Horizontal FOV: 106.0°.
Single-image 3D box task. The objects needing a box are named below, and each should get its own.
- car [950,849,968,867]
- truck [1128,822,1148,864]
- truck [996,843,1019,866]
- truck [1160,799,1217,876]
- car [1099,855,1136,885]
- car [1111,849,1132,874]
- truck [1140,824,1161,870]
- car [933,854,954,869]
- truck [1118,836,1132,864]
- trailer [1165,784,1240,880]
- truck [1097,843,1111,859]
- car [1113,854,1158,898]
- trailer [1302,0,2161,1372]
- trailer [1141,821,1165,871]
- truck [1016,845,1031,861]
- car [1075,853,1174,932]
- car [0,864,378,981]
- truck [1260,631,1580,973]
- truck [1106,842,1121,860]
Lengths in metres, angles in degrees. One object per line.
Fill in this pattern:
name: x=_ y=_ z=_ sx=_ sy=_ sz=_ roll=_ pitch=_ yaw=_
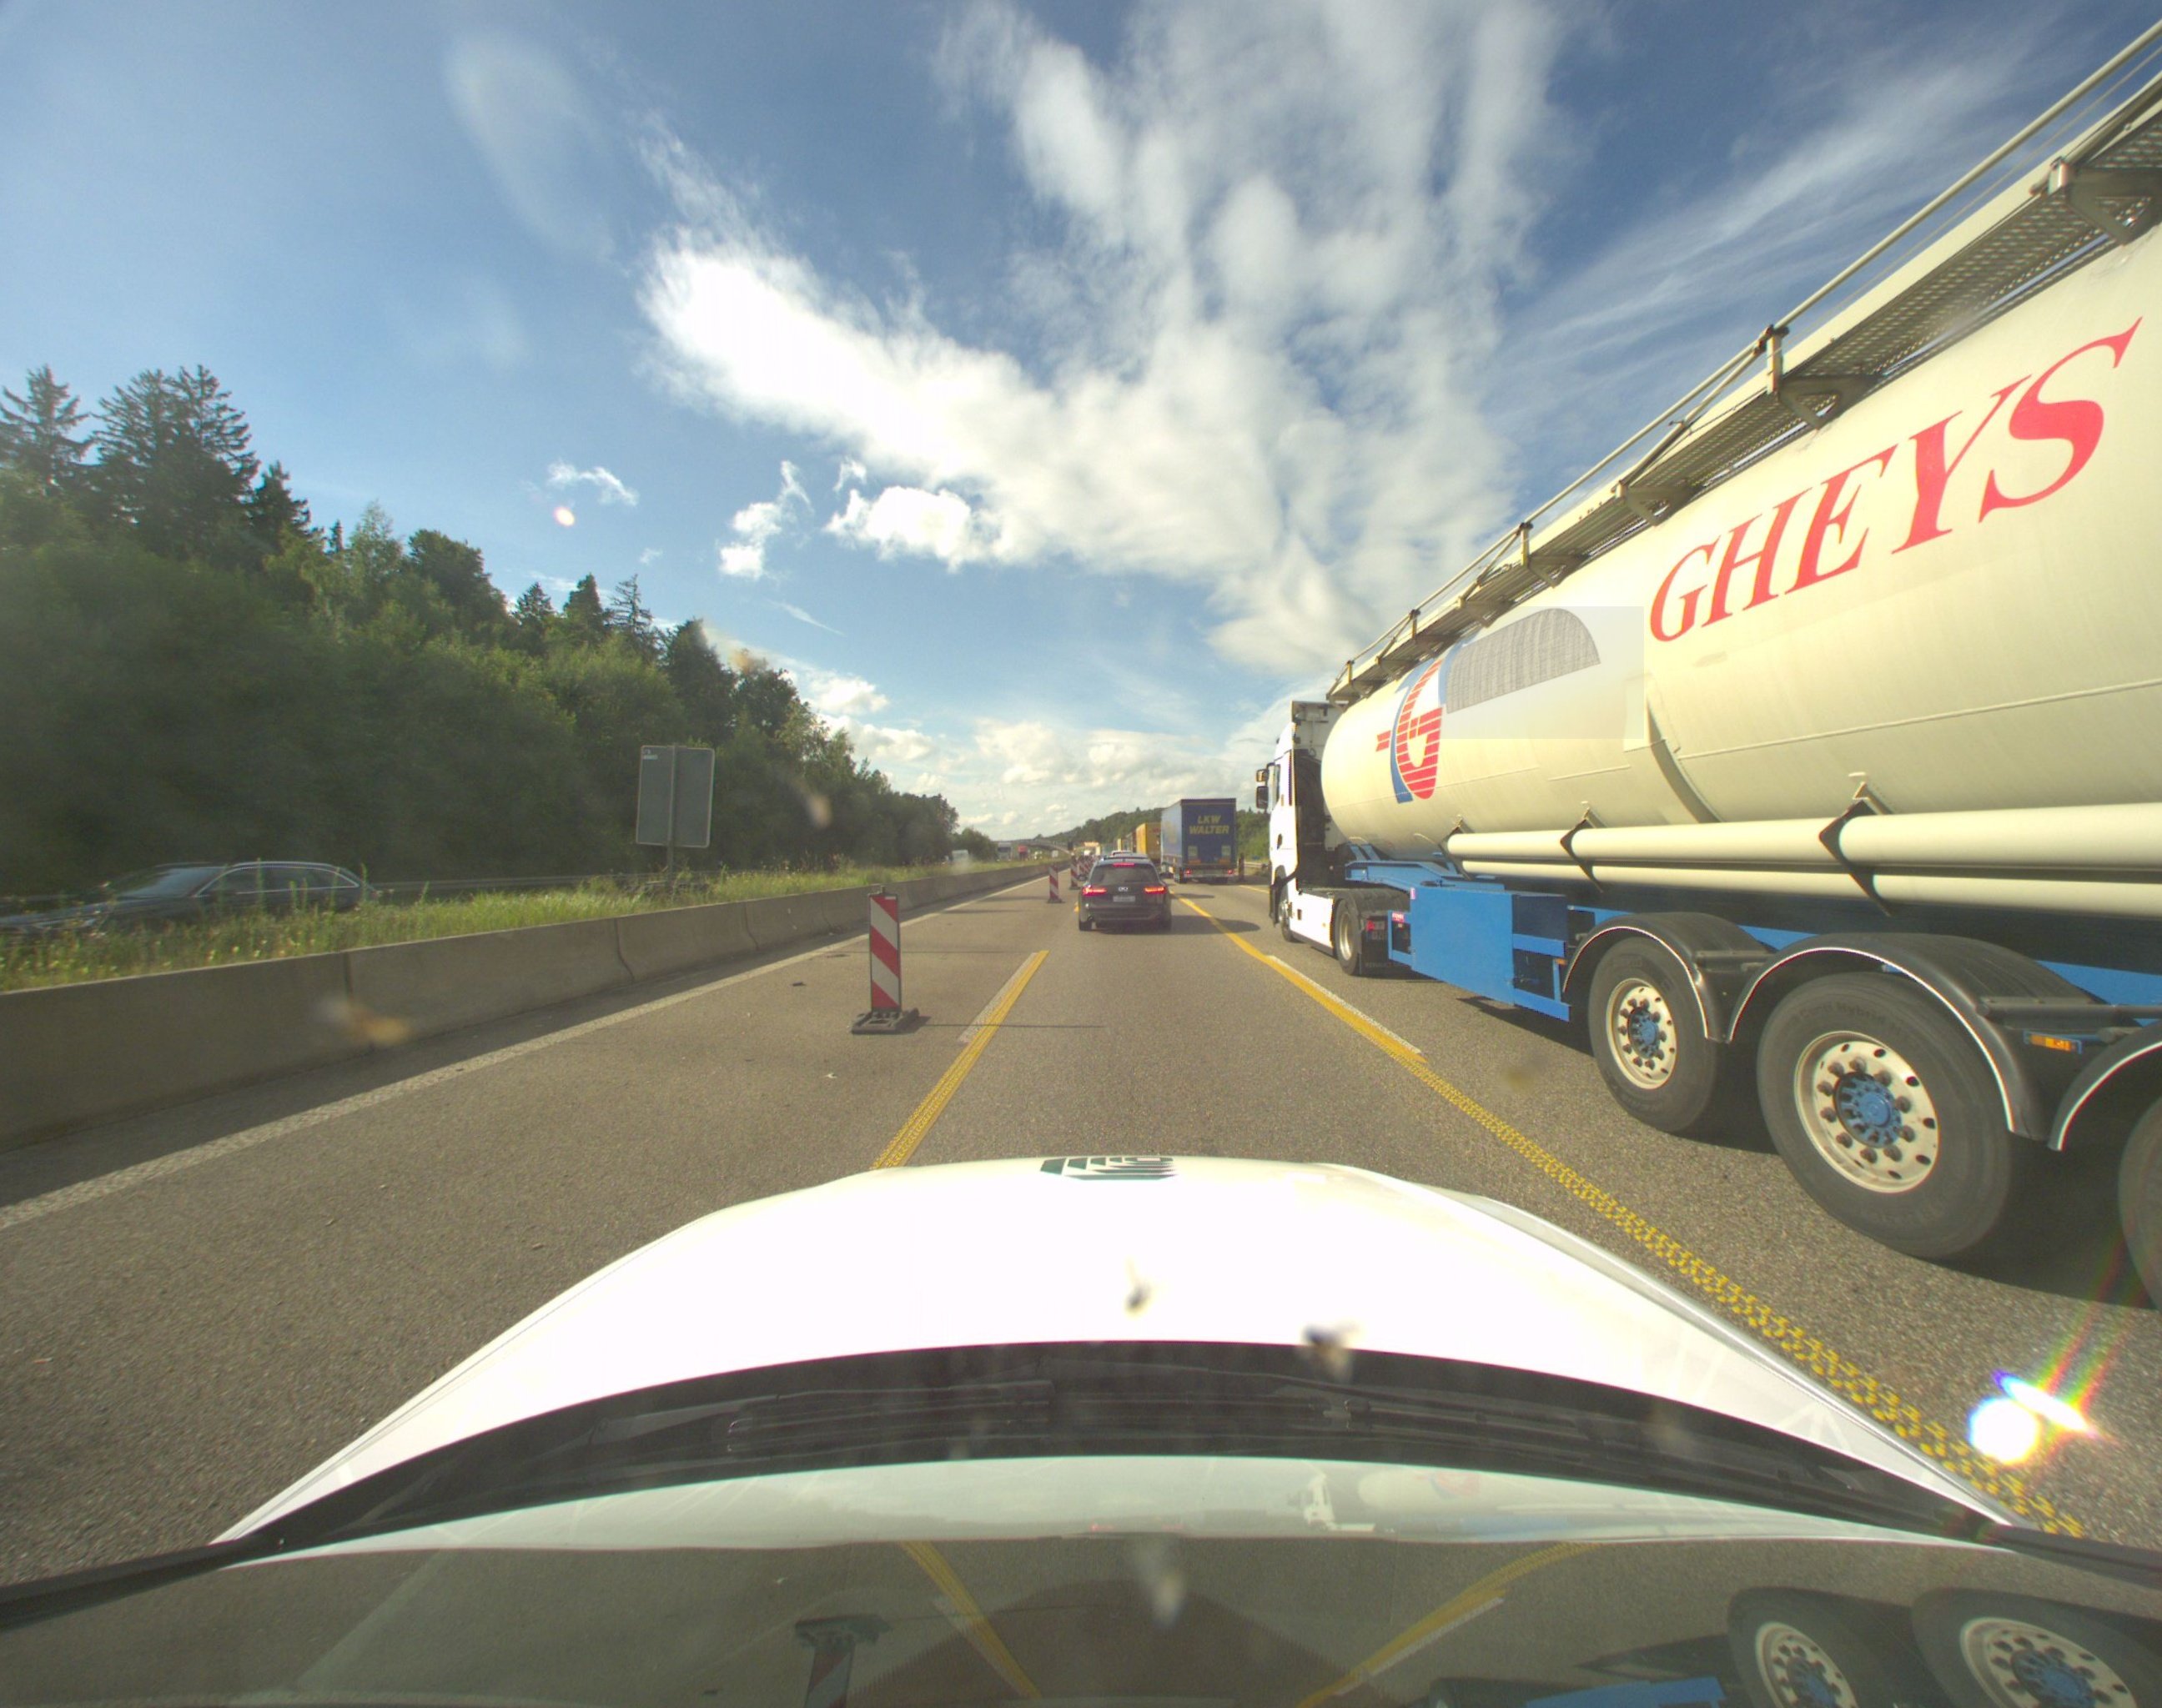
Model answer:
car: x=-18.379 y=0.578 z=122.788 sx=2.247 sy=2.643 sz=5.011 roll=0 pitch=-1 yaw=-5
truck: x=6.938 y=-1.276 z=99.437 sx=1.986 sy=4.914 sz=9.564 roll=-1 pitch=0 yaw=1
truck: x=-13.434 y=0.175 z=149.484 sx=2.771 sy=3.985 sz=10.868 roll=0 pitch=-1 yaw=2
truck: x=6.474 y=-0.888 z=50.106 sx=2.795 sy=4.370 sz=7.796 roll=0 pitch=-1 yaw=2
car: x=1.812 y=0.770 z=40.263 sx=1.744 sy=1.397 sz=3.610 roll=0 pitch=-1 yaw=3
car: x=3.025 y=0.557 z=61.051 sx=1.575 sy=1.837 sz=3.113 roll=0 pitch=-1 yaw=2
truck: x=6.111 y=-0.573 z=72.010 sx=1.604 sy=3.897 sz=4.073 roll=0 pitch=-1 yaw=2
car: x=-19.024 y=1.024 z=112.934 sx=1.985 sy=2.014 sz=4.002 roll=0 pitch=-1 yaw=2
truck: x=6.950 y=-0.597 z=130.398 sx=2.129 sy=4.257 sz=7.075 roll=0 pitch=-1 yaw=2
trailer: x=6.154 y=-0.964 z=42.822 sx=2.794 sy=4.413 sz=10.439 roll=0 pitch=-1 yaw=2
truck: x=6.291 y=-0.865 z=224.677 sx=3.294 sy=4.174 sz=9.699 roll=-1 pitch=0 yaw=0
car: x=1.899 y=0.751 z=28.883 sx=1.518 sy=1.439 sz=3.287 roll=0 pitch=-1 yaw=3
trailer: x=4.253 y=-0.633 z=5.443 sx=2.633 sy=3.943 sz=12.605 roll=0 pitch=0 yaw=3
trailer: x=5.946 y=-0.609 z=68.005 sx=1.610 sy=3.918 sz=6.491 roll=0 pitch=-1 yaw=2
truck: x=-14.604 y=-0.308 z=207.586 sx=2.789 sy=3.992 sz=10.192 roll=-1 pitch=0 yaw=3
car: x=0.919 y=0.753 z=17.407 sx=1.841 sy=1.463 sz=4.002 roll=-1 pitch=-1 yaw=3
car: x=-12.799 y=0.856 z=11.842 sx=1.654 sy=1.387 sz=3.913 roll=0 pitch=-1 yaw=2
truck: x=4.573 y=-0.587 z=12.390 sx=2.648 sy=3.972 sz=5.782 roll=0 pitch=-1 yaw=2
truck: x=7.666 y=-0.692 z=193.434 sx=3.293 sy=4.175 sz=9.702 roll=-1 pitch=0 yaw=1
